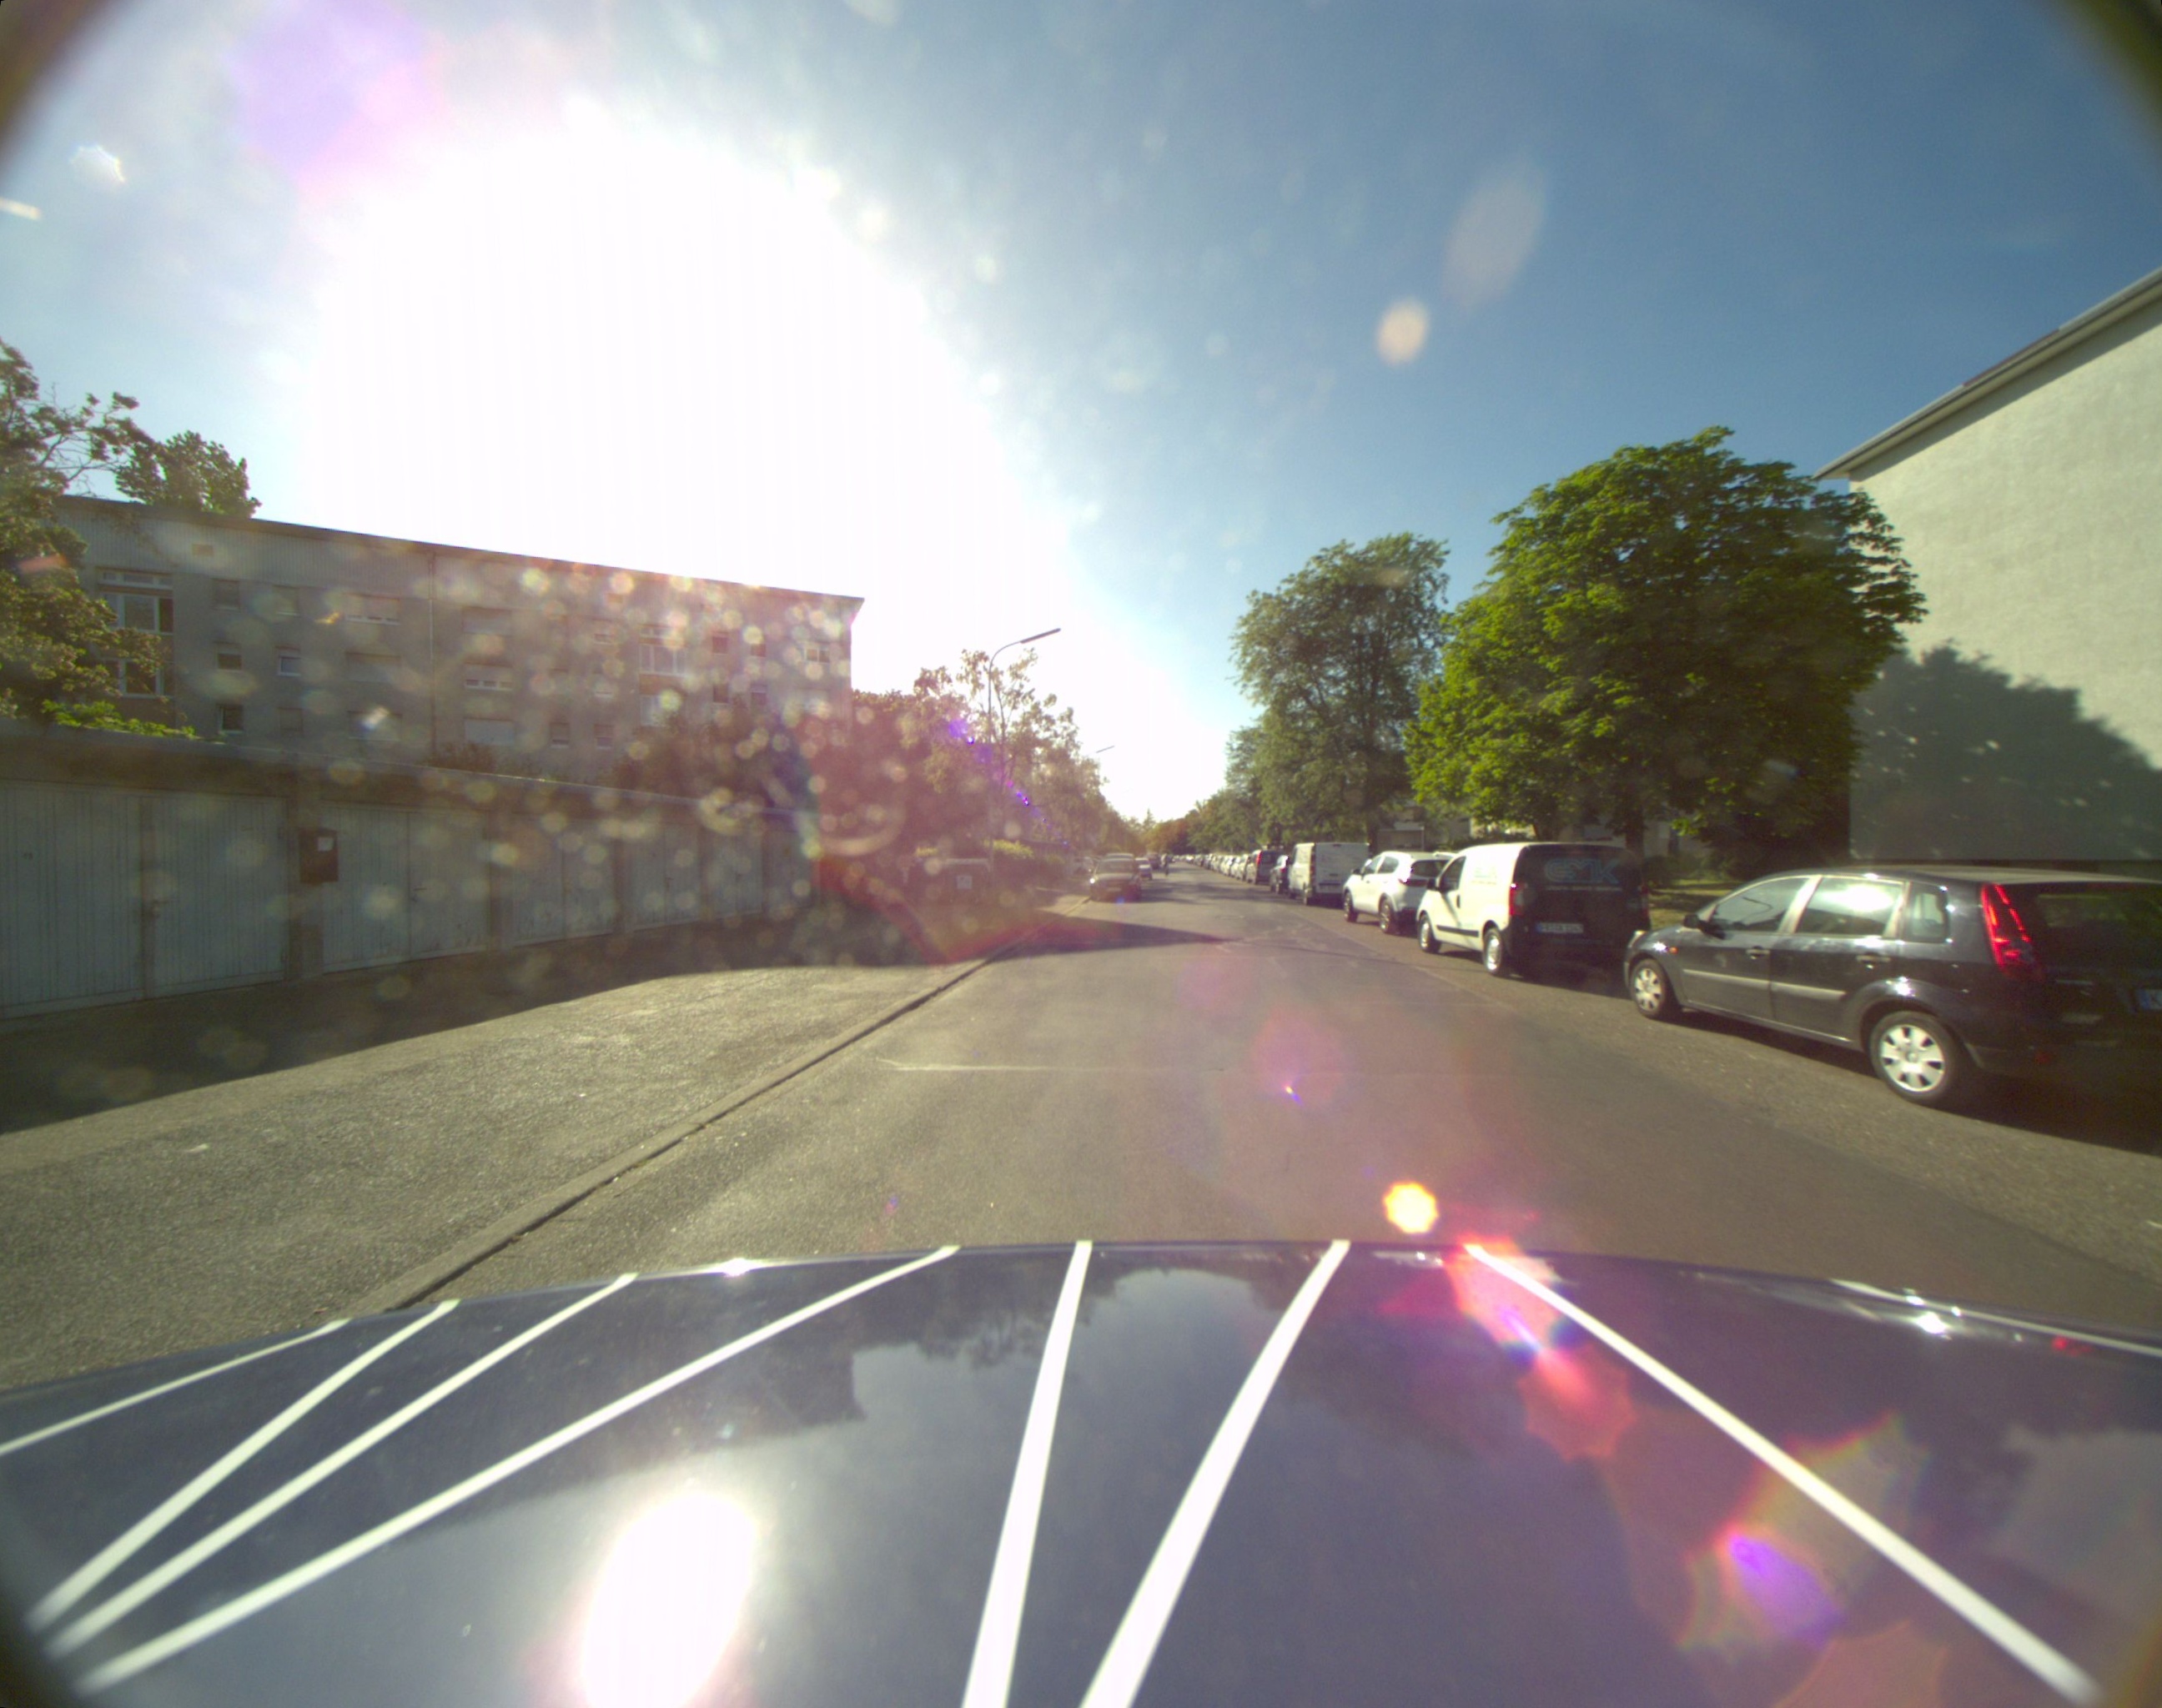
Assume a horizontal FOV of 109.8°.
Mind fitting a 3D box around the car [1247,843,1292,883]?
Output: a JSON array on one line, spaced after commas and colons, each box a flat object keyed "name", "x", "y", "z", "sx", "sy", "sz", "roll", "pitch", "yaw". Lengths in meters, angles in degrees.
[{"name": "car", "x": 9.756, "y": 0.460, "z": 39.603, "sx": 1.731, "sy": 1.941, "sz": 3.814, "roll": 1, "pitch": 0, "yaw": 6}]

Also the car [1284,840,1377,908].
[{"name": "car", "x": 7.861, "y": 0.574, "z": 24.358, "sx": 1.908, "sy": 1.930, "sz": 4.513, "roll": 1, "pitch": 0, "yaw": 7}]

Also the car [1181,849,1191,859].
[{"name": "car", "x": 18.890, "y": -0.007, "z": 136.274, "sx": 1.632, "sy": 1.619, "sz": 3.557, "roll": 1, "pitch": 0, "yaw": 6}]

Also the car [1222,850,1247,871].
[{"name": "car", "x": 12.494, "y": 0.511, "z": 62.066, "sx": 1.632, "sy": 1.619, "sz": 3.557, "roll": 1, "pitch": 0, "yaw": 6}]

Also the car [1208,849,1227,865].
[{"name": "car", "x": 14.037, "y": 0.281, "z": 78.285, "sx": 1.632, "sy": 1.619, "sz": 3.557, "roll": 1, "pitch": 0, "yaw": 6}]

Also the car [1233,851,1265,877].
[{"name": "car", "x": 10.983, "y": 0.607, "z": 49.943, "sx": 1.632, "sy": 1.619, "sz": 3.557, "roll": 1, "pitch": 0, "yaw": 6}]

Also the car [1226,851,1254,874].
[{"name": "car", "x": 11.710, "y": 0.591, "z": 56.182, "sx": 1.632, "sy": 1.619, "sz": 3.557, "roll": 1, "pitch": 0, "yaw": 6}]

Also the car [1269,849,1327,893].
[{"name": "car", "x": 8.676, "y": 0.652, "z": 30.673, "sx": 1.731, "sy": 1.630, "sz": 3.815, "roll": 1, "pitch": 0, "yaw": 8}]

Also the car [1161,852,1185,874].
[{"name": "car", "x": 7.128, "y": 0.700, "z": 58.850, "sx": 1.731, "sy": 1.586, "sz": 3.814, "roll": -2, "pitch": 0, "yaw": 6}]

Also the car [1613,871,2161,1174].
[{"name": "car", "x": 5.898, "y": 0.904, "z": 5.610, "sx": 1.626, "sy": 1.428, "sz": 3.655, "roll": 1, "pitch": 0, "yaw": 6}]

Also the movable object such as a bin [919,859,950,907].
[{"name": "movable object such as a bin", "x": -4.527, "y": 0.899, "z": 23.541, "sx": 0.753, "sy": 1.434, "sz": 0.848, "roll": 1, "pitch": 2, "yaw": 4}]

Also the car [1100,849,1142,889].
[{"name": "car", "x": 1.919, "y": 0.668, "z": 35.801, "sx": 1.731, "sy": 1.743, "sz": 3.814, "roll": -2, "pitch": 0, "yaw": 6}]

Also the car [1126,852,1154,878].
[{"name": "car", "x": 3.921, "y": 0.685, "z": 50.157, "sx": 1.731, "sy": 1.586, "sz": 3.814, "roll": -2, "pitch": 0, "yaw": 6}]

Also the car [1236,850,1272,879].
[{"name": "car", "x": 10.306, "y": 0.616, "z": 45.376, "sx": 1.632, "sy": 1.619, "sz": 3.557, "roll": 1, "pitch": 0, "yaw": 6}]

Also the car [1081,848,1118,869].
[{"name": "car", "x": 2.002, "y": 0.513, "z": 80.860, "sx": 3.775, "sy": 2.002, "sz": 1.811, "roll": -3, "pitch": 1, "yaw": 5}]

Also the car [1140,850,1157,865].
[{"name": "car", "x": 7.550, "y": 0.372, "z": 84.886, "sx": 1.731, "sy": 1.586, "sz": 3.814, "roll": -2, "pitch": 0, "yaw": 6}]

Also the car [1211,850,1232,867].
[{"name": "car", "x": 13.366, "y": 0.417, "z": 72.577, "sx": 1.632, "sy": 1.619, "sz": 3.557, "roll": 1, "pitch": 0, "yaw": 6}]

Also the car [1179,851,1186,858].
[{"name": "car", "x": 24.882, "y": 0.197, "z": 186.953, "sx": 1.632, "sy": 1.619, "sz": 3.557, "roll": 1, "pitch": 0, "yaw": 6}]

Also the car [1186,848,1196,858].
[{"name": "car", "x": 18.710, "y": -0.104, "z": 129.405, "sx": 1.632, "sy": 1.619, "sz": 3.557, "roll": 1, "pitch": 0, "yaw": 6}]

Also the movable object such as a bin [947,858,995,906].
[{"name": "movable object such as a bin", "x": -3.444, "y": 0.853, "z": 23.946, "sx": 1.277, "sy": 1.434, "sz": 1.180, "roll": 1, "pitch": 1, "yaw": 4}]

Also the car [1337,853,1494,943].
[{"name": "car", "x": 6.911, "y": 0.806, "z": 16.193, "sx": 1.732, "sy": 1.630, "sz": 4.171, "roll": 1, "pitch": 0, "yaw": 4}]

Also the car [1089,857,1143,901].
[{"name": "car", "x": 1.364, "y": 0.863, "z": 28.105, "sx": 1.731, "sy": 1.462, "sz": 3.814, "roll": -2, "pitch": 0, "yaw": 6}]

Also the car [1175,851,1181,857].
[{"name": "car", "x": 25.432, "y": 0.045, "z": 199.514, "sx": 1.632, "sy": 1.629, "sz": 3.567, "roll": 1, "pitch": 0, "yaw": 6}]

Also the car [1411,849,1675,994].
[{"name": "car", "x": 6.203, "y": 0.782, "z": 10.755, "sx": 1.816, "sy": 1.672, "sz": 3.650, "roll": 1, "pitch": 0, "yaw": 7}]

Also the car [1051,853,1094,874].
[{"name": "car", "x": -0.667, "y": 0.795, "z": 63.872, "sx": 3.503, "sy": 1.499, "sz": 1.602, "roll": -3, "pitch": 1, "yaw": 0}]

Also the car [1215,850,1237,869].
[{"name": "car", "x": 13.077, "y": 0.452, "z": 68.712, "sx": 1.632, "sy": 1.619, "sz": 3.557, "roll": 1, "pitch": 0, "yaw": 6}]
